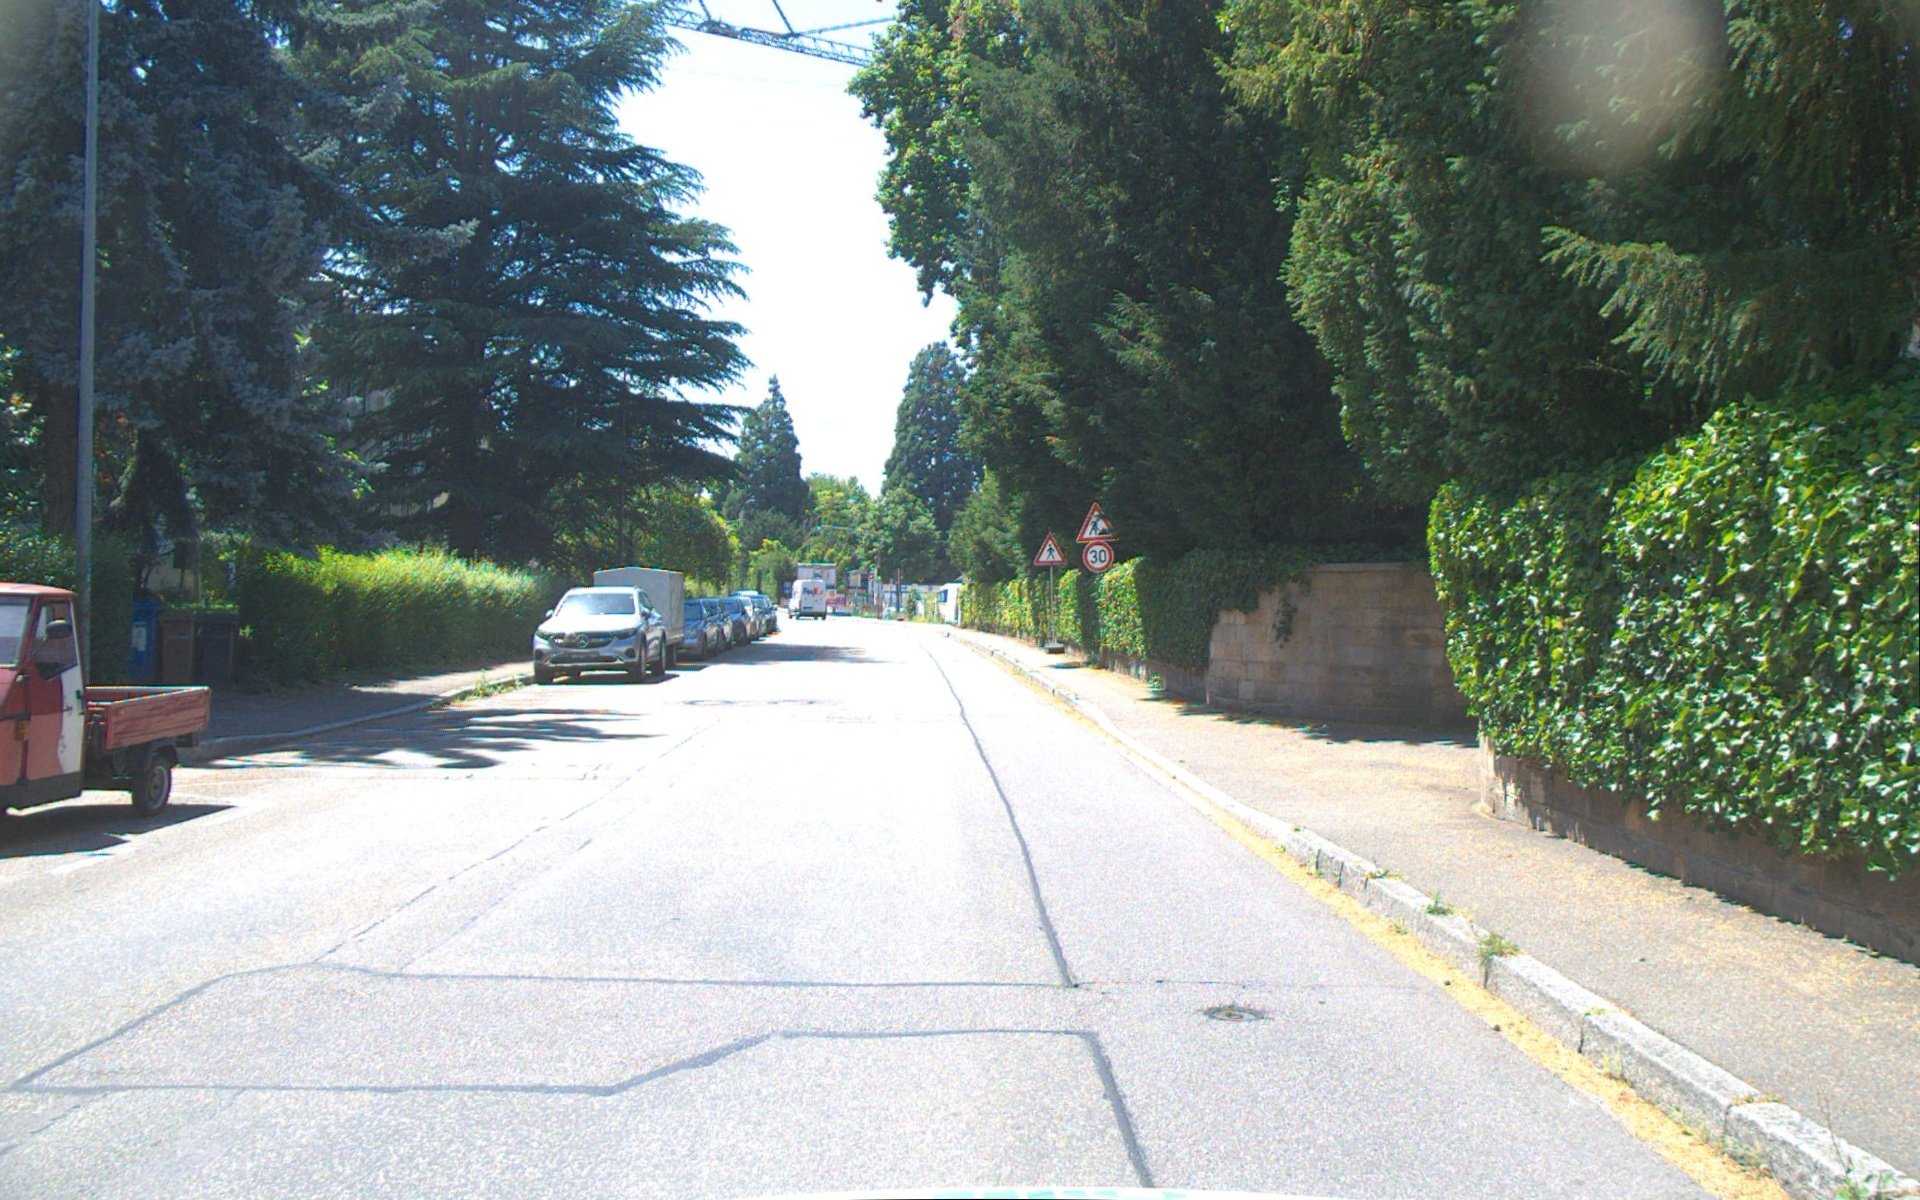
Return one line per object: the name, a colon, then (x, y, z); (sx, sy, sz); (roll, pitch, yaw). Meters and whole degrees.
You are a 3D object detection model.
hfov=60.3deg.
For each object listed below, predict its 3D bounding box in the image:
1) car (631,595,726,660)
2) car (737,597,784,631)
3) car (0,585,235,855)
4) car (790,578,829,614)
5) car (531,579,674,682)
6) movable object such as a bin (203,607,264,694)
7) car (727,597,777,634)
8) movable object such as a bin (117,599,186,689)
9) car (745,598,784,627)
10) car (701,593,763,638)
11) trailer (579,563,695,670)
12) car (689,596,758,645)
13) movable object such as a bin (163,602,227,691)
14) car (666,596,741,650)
car: (-6.797, 0.643, 40.284); (1.675, 1.464, 4.320); (-1, 0, -2)
car: (-8.715, 0.604, 72.512); (1.654, 1.470, 4.134); (0, 0, -2)
car: (-6.054, 0.689, 10.779); (1.383, 1.529, 2.840); (-1, 0, 0)
car: (-10.033, -0.274, 110.280); (2.105, 2.356, 4.839); (0, 0, -11)
car: (-6.404, 0.519, 30.106); (1.814, 1.700, 4.709); (-1, 0, -4)
movable object such as a bin: (-9.509, 0.655, 21.658); (0.476, 1.084, 0.616); (5, 0, -4)
car: (-8.394, 0.602, 67.007); (1.654, 1.470, 4.134); (0, 0, -2)
movable object such as a bin: (-10.532, 0.562, 21.560); (0.528, 1.101, 0.644); (5, 0, -4)
car: (-10.157, 0.656, 85.960); (1.654, 1.470, 4.134); (0, 0, -2)
car: (-7.718, 0.517, 56.216); (1.654, 1.470, 4.134); (0, 0, -2)
trailer: (-6.670, 0.331, 34.538); (1.811, 2.076, 4.160); (-1, 0, -4)
car: (-7.342, 0.609, 51.591); (1.654, 1.470, 4.134); (0, 0, -2)
movable object such as a bin: (-9.983, 0.604, 21.600); (0.476, 1.101, 0.641); (5, 0, -4)
car: (-7.049, 0.621, 45.705); (1.550, 1.414, 3.881); (0, 0, -2)
